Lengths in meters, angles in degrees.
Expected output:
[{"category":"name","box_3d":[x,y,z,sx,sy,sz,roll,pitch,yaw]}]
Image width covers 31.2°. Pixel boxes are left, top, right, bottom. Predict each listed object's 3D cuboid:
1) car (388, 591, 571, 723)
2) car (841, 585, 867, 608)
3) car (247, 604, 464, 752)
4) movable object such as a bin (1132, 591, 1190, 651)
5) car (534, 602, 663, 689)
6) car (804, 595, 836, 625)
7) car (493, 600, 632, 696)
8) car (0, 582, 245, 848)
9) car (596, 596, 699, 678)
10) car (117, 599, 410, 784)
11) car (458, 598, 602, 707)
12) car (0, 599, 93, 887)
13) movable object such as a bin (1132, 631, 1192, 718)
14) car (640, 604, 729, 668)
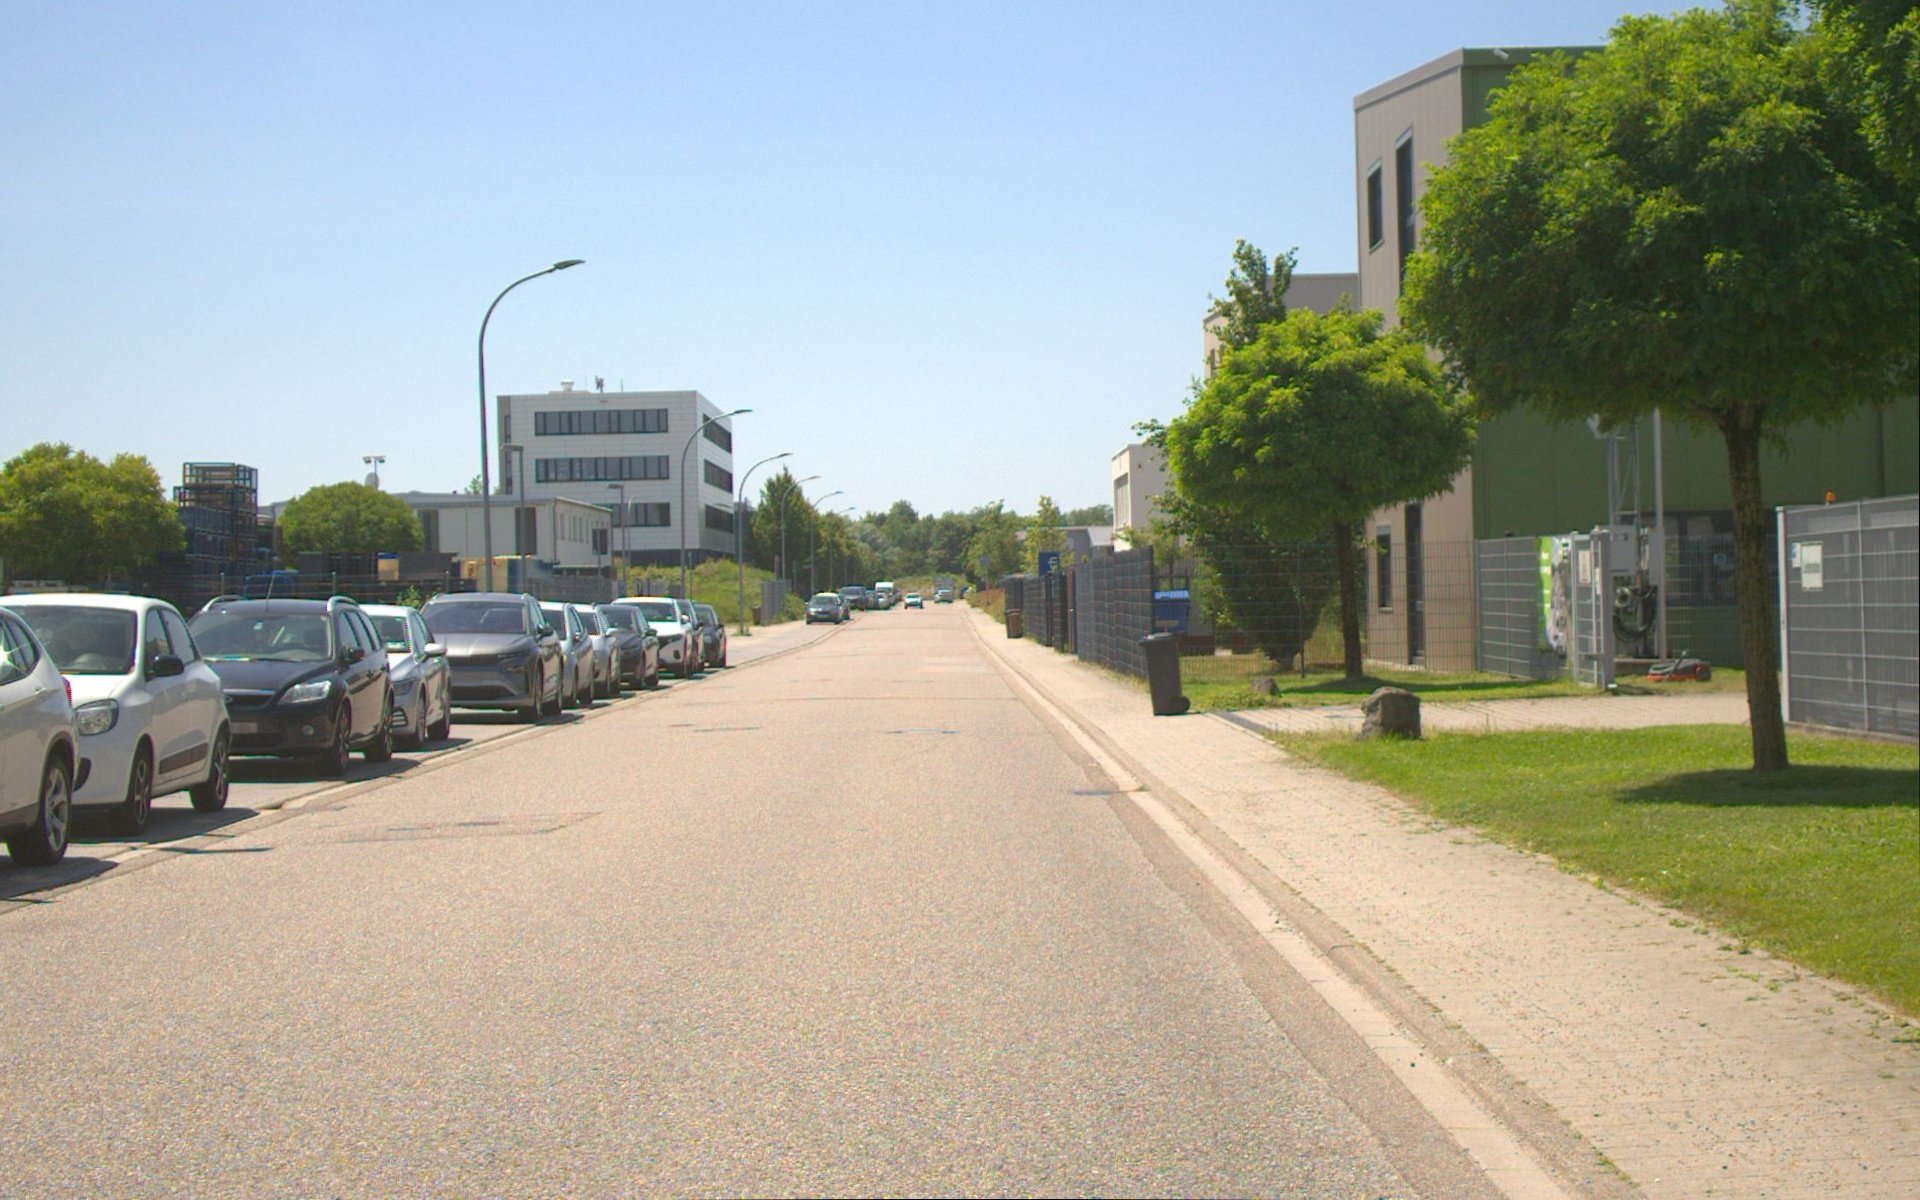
[{"category":"car","box_3d":[-6.082,0.695,43.931,1.790,1.601,4.463,0,0,-1]},{"category":"car","box_3d":[-7.078,-0.222,230.224,1.644,1.484,3.207,-1,0,0]},{"category":"car","box_3d":[-6.301,0.778,36.213,1.763,1.446,4.201,0,0,-3]},{"category":"movable object such as a bin","box_3d":[4.995,0.522,85.342,1.334,1.454,0.948,-2,0,-1]},{"category":"car","box_3d":[-6.326,0.772,60.569,1.857,1.476,4.229,0,0,0]},{"category":"car","box_3d":[-7.115,0.494,175.241,1.466,1.484,3.207,-1,0,0]},{"category":"car","box_3d":[-6.383,0.740,55.620,1.775,1.476,4.816,0,0,-1]},{"category":"car","box_3d":[-6.112,0.717,23.365,1.787,1.651,3.769,0,0,-1]},{"category":"car","box_3d":[-6.266,0.725,69.270,1.769,1.587,4.360,0,0,-1]},{"category":"car","box_3d":[-6.079,0.753,30.462,1.763,1.512,4.380,0,0,-1]},{"category":"car","box_3d":[-6.230,0.736,50.129,1.693,1.520,3.735,0,0,-1]},{"category":"car","box_3d":[-6.068,0.780,18.108,1.787,1.537,4.364,0,0,2]},{"category":"movable object such as a bin","box_3d":[2.292,0.837,38.901,0.552,0.925,0.521,-5,-1,10]},{"category":"car","box_3d":[-6.420,0.815,80.443,1.769,1.456,4.333,0,0,0]}]
